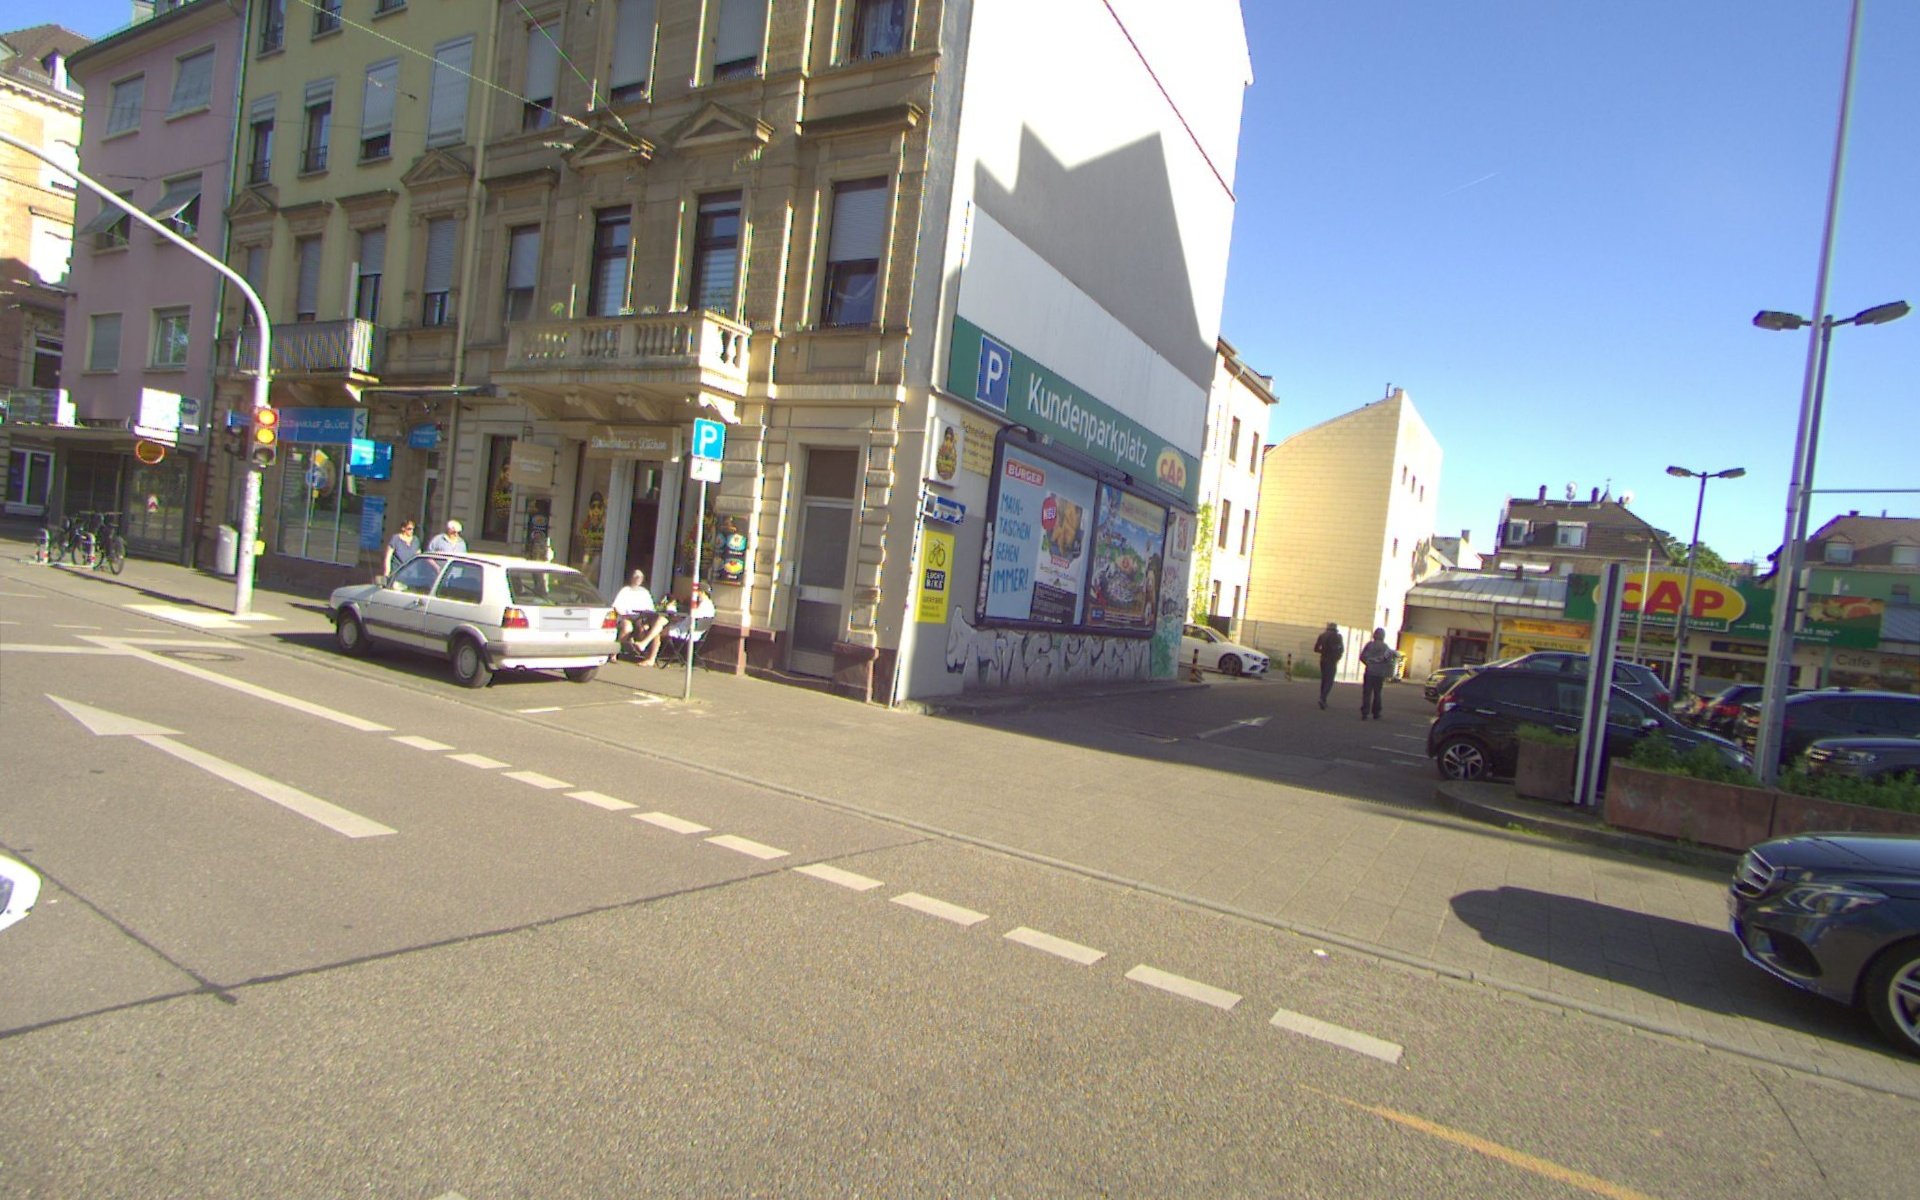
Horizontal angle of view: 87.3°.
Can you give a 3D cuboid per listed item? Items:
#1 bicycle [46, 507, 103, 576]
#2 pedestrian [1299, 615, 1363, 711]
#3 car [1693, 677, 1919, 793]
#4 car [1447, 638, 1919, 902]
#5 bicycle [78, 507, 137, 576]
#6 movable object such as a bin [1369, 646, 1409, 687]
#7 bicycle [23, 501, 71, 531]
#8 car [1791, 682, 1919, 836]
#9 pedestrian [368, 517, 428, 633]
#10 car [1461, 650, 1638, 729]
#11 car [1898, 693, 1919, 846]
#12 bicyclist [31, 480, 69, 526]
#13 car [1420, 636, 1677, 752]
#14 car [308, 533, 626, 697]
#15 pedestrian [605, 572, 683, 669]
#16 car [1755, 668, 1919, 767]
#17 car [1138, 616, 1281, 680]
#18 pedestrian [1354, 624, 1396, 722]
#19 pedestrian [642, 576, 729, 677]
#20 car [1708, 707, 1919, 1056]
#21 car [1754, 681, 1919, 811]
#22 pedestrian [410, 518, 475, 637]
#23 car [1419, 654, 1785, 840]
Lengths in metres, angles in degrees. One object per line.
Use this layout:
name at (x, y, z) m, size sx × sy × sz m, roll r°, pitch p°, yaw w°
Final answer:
bicycle at (-16.838, -1.118, 19.113) m, size 1.782 × 1.155 × 0.414 m, roll 7°, pitch 1°, yaw 38°
pedestrian at (7.659, 1.292, 20.787) m, size 0.755 × 1.865 × 0.741 m, roll 6°, pitch 1°, yaw -33°
car at (16.087, 2.485, 18.547) m, size 3.872 × 1.564 × 1.543 m, roll 7°, pitch 1°, yaw 31°
car at (6.853, 1.487, 9.520) m, size 3.835 × 1.664 × 1.654 m, roll 8°, pitch -1°, yaw 28°
bicycle at (-16.567, -1.142, 19.536) m, size 1.731 × 1.173 × 0.448 m, roll 8°, pitch 1°, yaw 38°
movable object such as a bin at (18.270, 2.830, 42.865) m, size 1.258 × 1.527 × 1.174 m, roll 7°, pitch 1°, yaw 31°
bicycle at (-32.431, -2.983, 35.756) m, size 0.644 × 0.914 × 1.333 m, roll 7°, pitch 0°, yaw -16°
car at (12.946, 2.140, 12.239) m, size 3.931 × 1.714 × 1.747 m, roll 7°, pitch 0°, yaw 29°
pedestrian at (-8.740, -0.375, 15.644) m, size 0.382 × 1.730 × 0.550 m, roll 8°, pitch 2°, yaw 34°
car at (16.136, 2.411, 27.694) m, size 3.933 × 1.538 × 1.723 m, roll 7°, pitch 1°, yaw 31°
car at (12.105, 2.036, 9.743) m, size 3.930 × 1.665 × 1.748 m, roll 7°, pitch 0°, yaw 28°
bicyclist at (-32.395, -3.432, 35.825) m, size 0.540 × 1.521 × 0.957 m, roll 6°, pitch 1°, yaw -17°
car at (12.176, 1.890, 21.037) m, size 4.309 × 1.687 × 1.756 m, roll 7°, pitch 1°, yaw 32°
car at (-6.016, 0.096, 12.143) m, size 3.937 × 1.435 × 1.562 m, roll 7°, pitch 4°, yaw 32°
pedestrian at (-4.488, 0.281, 14.316) m, size 0.598 × 1.299 × 0.797 m, roll 7°, pitch 4°, yaw 29°
car at (18.822, 2.448, 20.406) m, size 3.872 × 1.601 × 1.658 m, roll 7°, pitch 1°, yaw 31°
car at (7.882, 1.494, 31.854) m, size 3.933 × 1.482 × 1.756 m, roll 7°, pitch 1°, yaw 32°
pedestrian at (7.912, 1.386, 19.176) m, size 0.504 × 1.778 × 0.761 m, roll 7°, pitch 1°, yaw 26°
pedestrian at (-3.843, 0.363, 14.113) m, size 0.644 × 1.299 × 0.902 m, roll 7°, pitch 3°, yaw 27°
car at (6.666, 1.697, 4.826) m, size 4.656 × 1.507 × 1.832 m, roll 7°, pitch 3°, yaw 32°
car at (14.076, 2.228, 14.429) m, size 3.871 × 1.564 × 1.544 m, roll 7°, pitch 1°, yaw 30°
pedestrian at (-8.250, -0.354, 16.042) m, size 0.522 × 1.831 × 0.672 m, roll 8°, pitch 4°, yaw 31°
car at (7.427, 1.631, 12.006) m, size 3.336 × 1.504 × 1.561 m, roll 7°, pitch 1°, yaw 28°
